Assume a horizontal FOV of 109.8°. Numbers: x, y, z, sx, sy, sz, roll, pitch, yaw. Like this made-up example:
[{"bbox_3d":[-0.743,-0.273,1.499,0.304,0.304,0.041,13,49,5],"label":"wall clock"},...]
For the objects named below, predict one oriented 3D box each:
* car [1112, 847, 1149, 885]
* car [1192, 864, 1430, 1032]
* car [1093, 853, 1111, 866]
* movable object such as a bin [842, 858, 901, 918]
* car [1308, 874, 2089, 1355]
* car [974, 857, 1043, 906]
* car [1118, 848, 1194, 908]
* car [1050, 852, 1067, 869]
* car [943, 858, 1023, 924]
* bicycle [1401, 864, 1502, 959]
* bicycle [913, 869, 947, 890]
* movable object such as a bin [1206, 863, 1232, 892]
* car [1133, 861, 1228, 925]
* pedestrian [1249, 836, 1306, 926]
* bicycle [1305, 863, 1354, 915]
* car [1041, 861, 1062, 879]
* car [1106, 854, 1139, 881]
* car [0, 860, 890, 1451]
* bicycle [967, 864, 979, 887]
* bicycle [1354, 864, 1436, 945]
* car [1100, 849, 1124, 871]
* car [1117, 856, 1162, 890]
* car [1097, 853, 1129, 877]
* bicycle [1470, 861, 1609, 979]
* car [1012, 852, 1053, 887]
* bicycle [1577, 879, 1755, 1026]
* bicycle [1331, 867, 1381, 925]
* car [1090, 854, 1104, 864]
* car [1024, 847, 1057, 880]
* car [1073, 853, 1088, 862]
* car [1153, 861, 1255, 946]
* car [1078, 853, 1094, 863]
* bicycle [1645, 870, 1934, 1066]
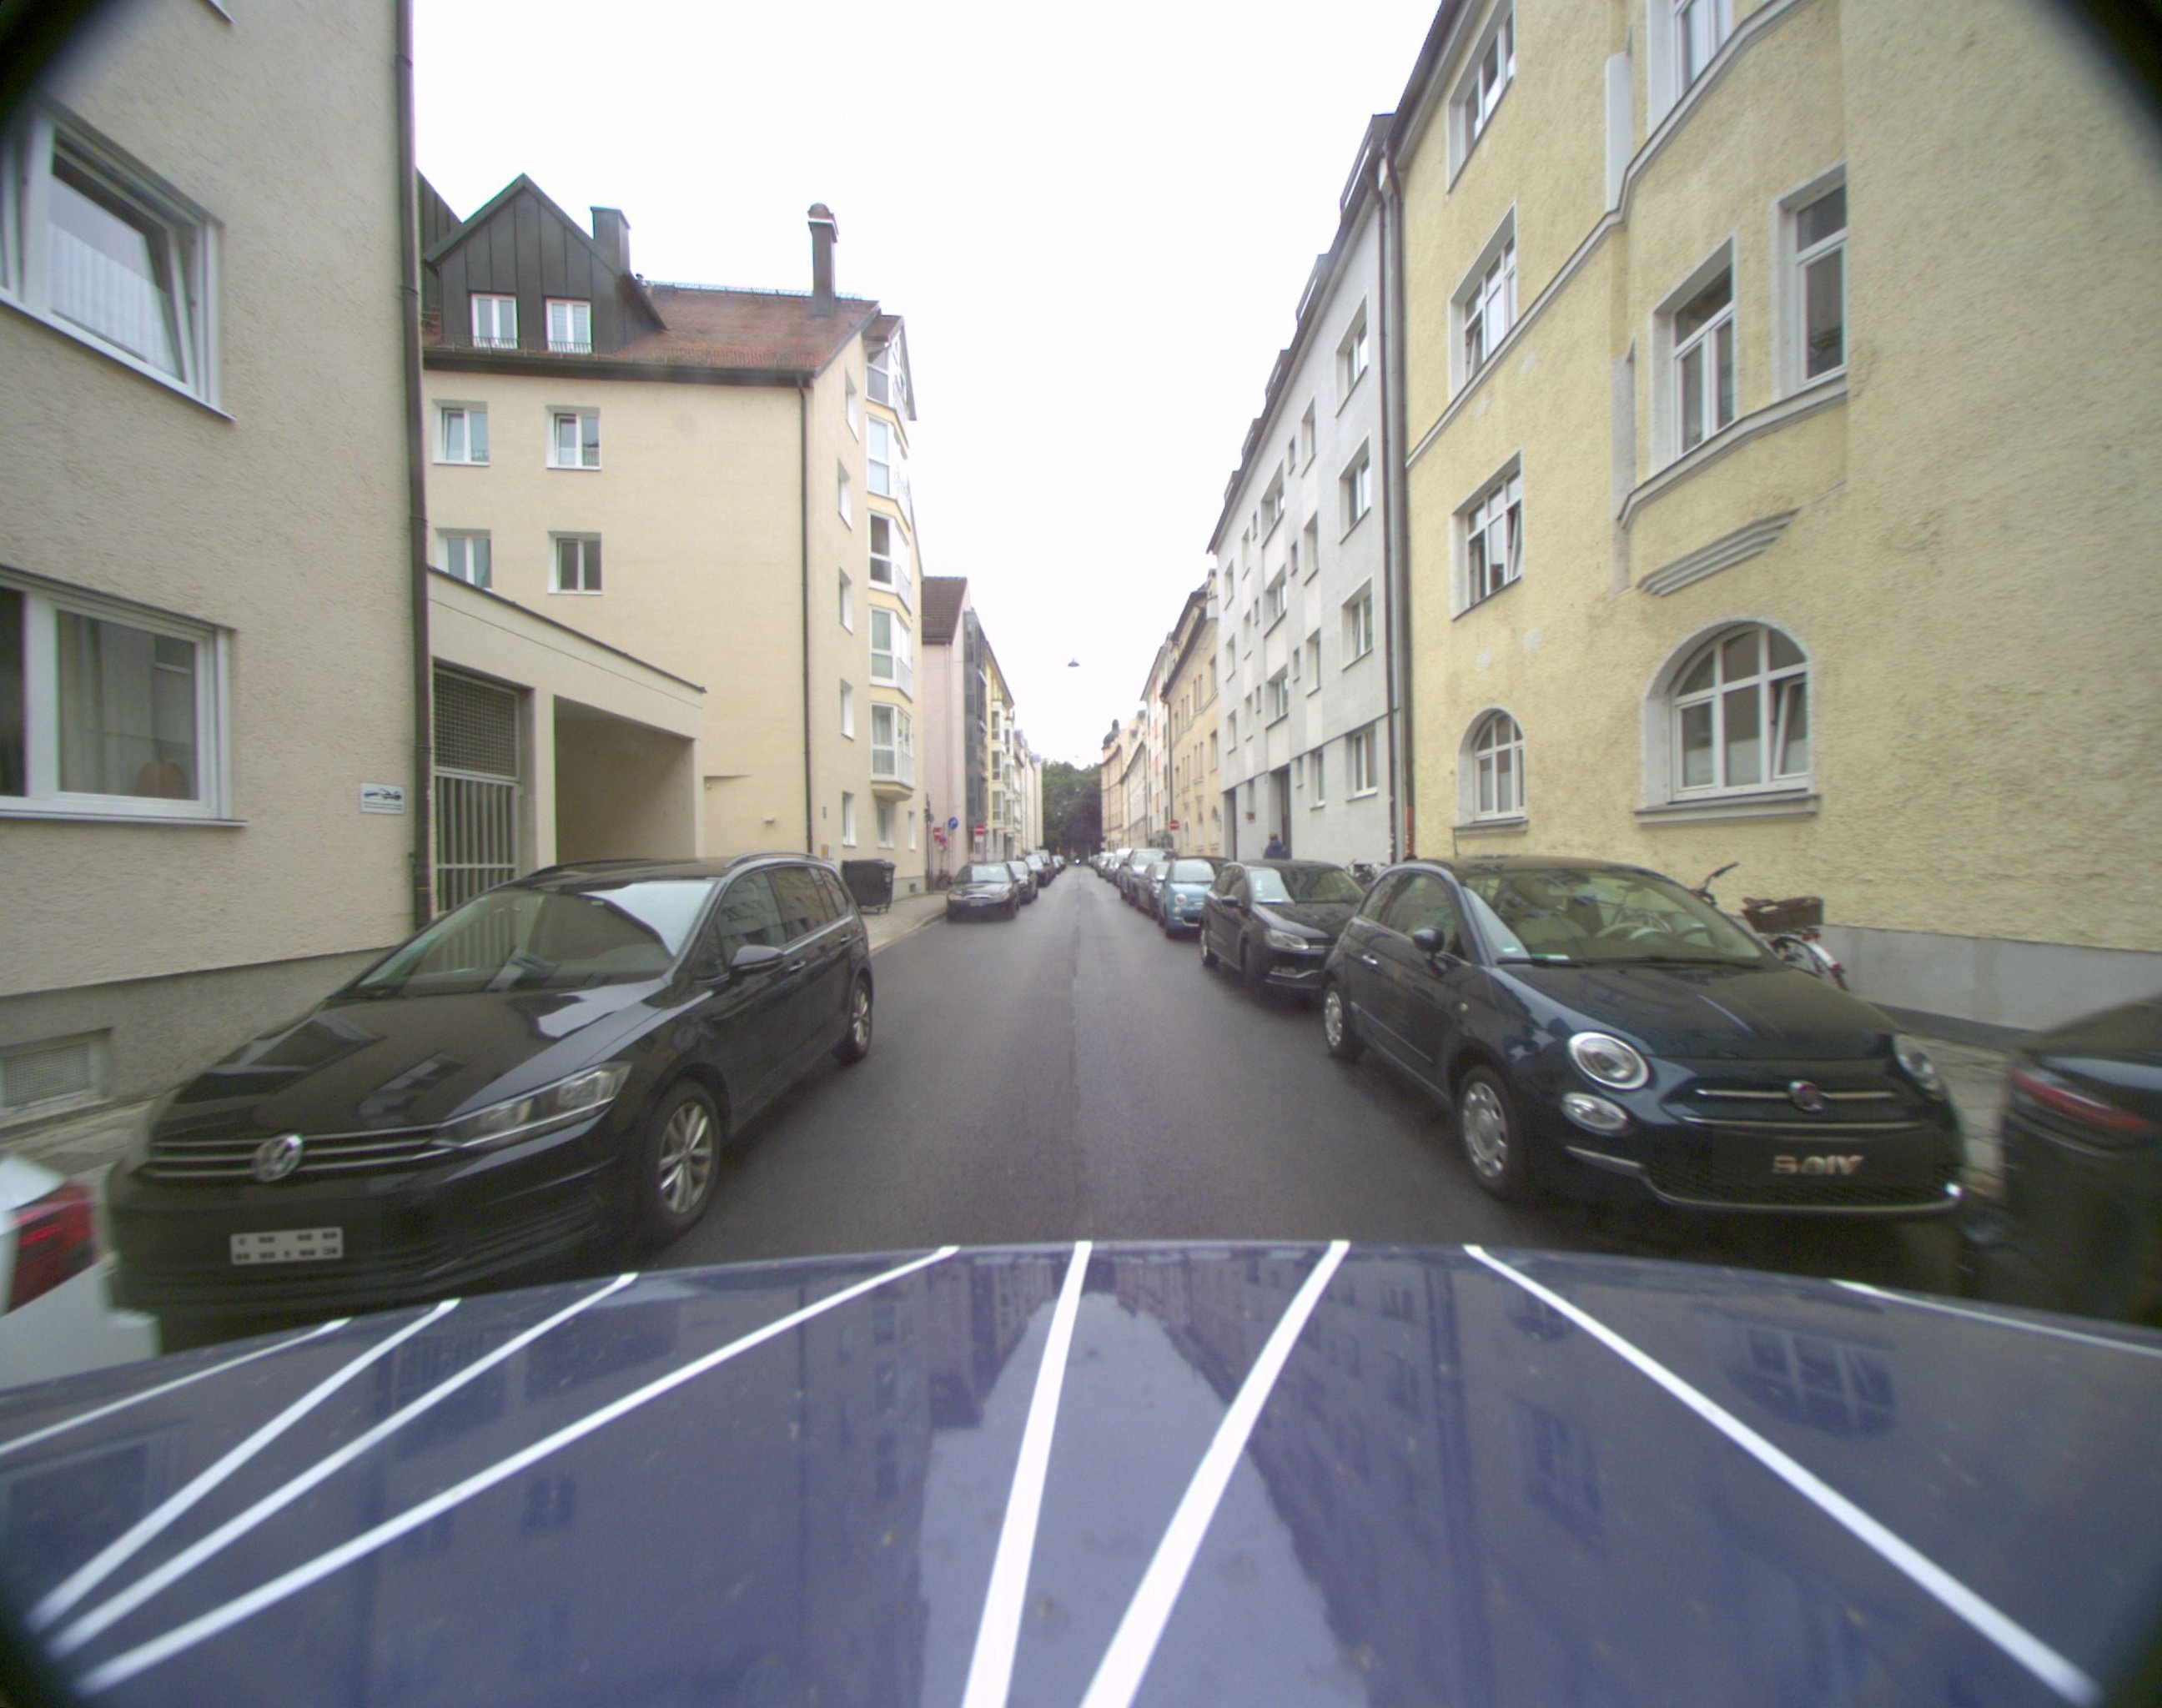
[{"bbox_3d":[2.495,0.582,38.881,1.728,1.779,4.248,1,1,2],"label":"car"},{"bbox_3d":[2.389,0.886,8.835,1.567,1.452,3.763,0,0,-1],"label":"car"},{"bbox_3d":[2.412,0.594,88.539,1.951,1.470,3.715,1,0,0],"label":"car"},{"bbox_3d":[-5.267,0.832,19.203,1.035,1.415,1.586,1,1,0],"label":"movable object such as a bin"},{"bbox_3d":[2.510,0.892,4.205,1.566,1.452,3.475,0,0,2],"label":"car"},{"bbox_3d":[-2.399,0.876,26.045,1.837,1.398,4.411,-2,1,1],"label":"car"},{"bbox_3d":[2.327,0.683,24.802,1.868,1.759,4.734,1,1,-1],"label":"car"},{"bbox_3d":[-2.444,0.649,83.273,1.739,1.743,3.685,-2,0,-1],"label":"car"},{"bbox_3d":[-2.538,0.903,20.588,1.721,1.463,4.530,-2,1,-3],"label":"car"},{"bbox_3d":[5.365,0.788,11.118,0.594,1.226,1.736,-2,1,0],"label":"bicycle"},{"bbox_3d":[-7.075,1.180,35.610,1.452,0.942,0.552,-1,0,-4],"label":"bicycle"},{"bbox_3d":[5.364,0.914,29.573,0.809,1.045,0.622,-5,1,0],"label":"movable object such as a bin"},{"bbox_3d":[2.458,0.921,19.753,1.816,1.378,4.250,1,1,-1],"label":"car"},{"bbox_3d":[4.050,0.539,15.736,0.841,1.754,1.067,-2,1,0],"label":"pedestrian"},{"bbox_3d":[5.424,0.745,16.679,0.546,1.025,1.570,-2,1,0],"label":"bicycle"},{"bbox_3d":[-2.693,1.398,68.539,1.750,1.433,4.227,-2,0,-4],"label":"car"},{"bbox_3d":[2.349,0.730,43.988,1.676,1.467,4.112,1,0,1],"label":"car"},{"bbox_3d":[-2.538,0.906,4.326,1.716,1.599,4.244,-2,1,1],"label":"car"},{"bbox_3d":[-5.444,1.075,38.355,0.358,1.115,1.543,-1,0,1],"label":"bicycle"},{"bbox_3d":[5.285,0.812,12.902,0.638,1.226,1.736,-2,1,0],"label":"bicycle"},{"bbox_3d":[2.768,0.532,68.556,1.951,1.850,4.908,1,0,0],"label":"car"},{"bbox_3d":[2.523,0.797,33.555,1.656,1.403,3.735,1,0,0],"label":"car"},{"bbox_3d":[2.202,0.779,53.686,1.786,1.595,4.307,1,0,-3],"label":"car"},{"bbox_3d":[5.414,0.725,9.099,0.594,1.226,1.736,-2,1,0],"label":"bicycle"},{"bbox_3d":[-2.439,0.773,39.292,1.837,1.612,4.410,-2,1,-1],"label":"car"},{"bbox_3d":[5.565,0.875,7.351,0.440,1.183,1.632,-2,1,0],"label":"bicycle"},{"bbox_3d":[5.369,0.795,14.889,0.396,1.025,1.570,-2,1,0],"label":"bicycle"},{"bbox_3d":[2.297,0.691,112.383,1.951,1.470,3.979,1,0,0],"label":"car"},{"bbox_3d":[-2.604,0.580,50.009,1.878,2.002,5.105,-2,1,-1],"label":"car"},{"bbox_3d":[-0.079,0.594,126.003,1.800,1.501,3.996,1,0,-11],"label":"car"},{"bbox_3d":[2.317,0.882,14.993,1.566,1.452,3.404,0,0,2],"label":"car"},{"bbox_3d":[0.739,0.637,121.817,1.800,1.501,3.996,1,0,-11],"label":"car"},{"bbox_3d":[5.317,0.769,5.873,0.594,1.226,1.736,-2,1,0],"label":"bicycle"}]
